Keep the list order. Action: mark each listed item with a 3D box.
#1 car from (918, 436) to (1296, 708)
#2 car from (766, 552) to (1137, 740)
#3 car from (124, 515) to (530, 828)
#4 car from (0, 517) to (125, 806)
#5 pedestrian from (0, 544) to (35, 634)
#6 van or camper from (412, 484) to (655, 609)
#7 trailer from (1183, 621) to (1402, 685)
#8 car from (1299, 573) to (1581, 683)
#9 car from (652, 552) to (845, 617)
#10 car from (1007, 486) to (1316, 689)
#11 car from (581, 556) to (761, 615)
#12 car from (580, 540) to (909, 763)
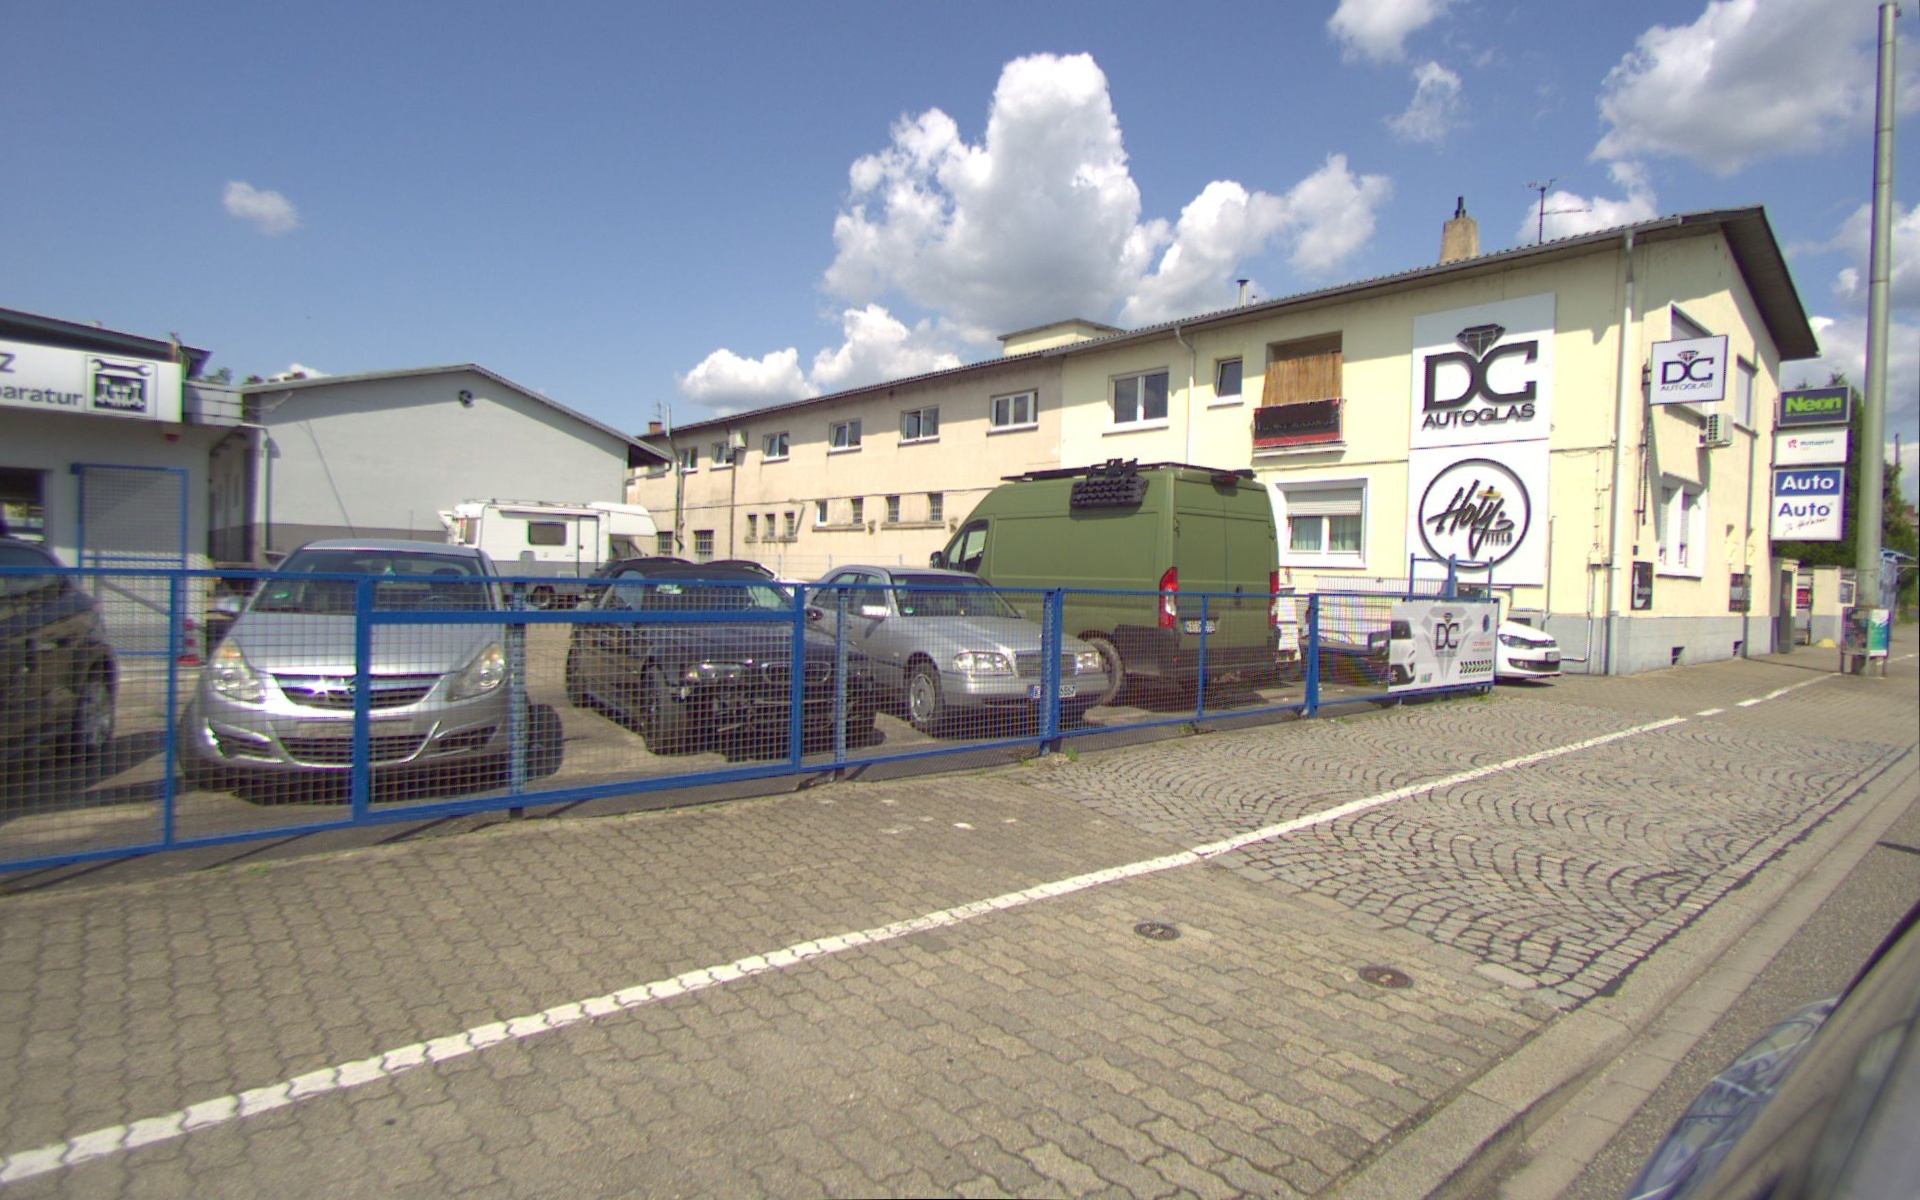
[{"bbox_3d":[1.589,-0.351,12.253,2.075,2.675,4.208,1,2,-39],"label":"car"},{"bbox_3d":[-0.337,0.285,10.200,1.679,1.470,4.292,1,2,-33],"label":"car"},{"bbox_3d":[-3.897,0.280,6.838,1.736,1.470,3.778,1,2,-24],"label":"car"},{"bbox_3d":[-5.636,0.303,4.866,1.606,1.470,3.700,1,2,-25],"label":"car"},{"bbox_3d":[-13.160,-0.157,13.878,0.652,1.224,0.566,1,1,-39],"label":"pedestrian"},{"bbox_3d":[-11.303,-1.324,27.108,5.556,3.002,2.272,0,2,-42],"label":"van or camper"},{"bbox_3d":[4.751,0.722,14.648,1.307,0.674,2.730,0,2,-42],"label":"trailer"},{"bbox_3d":[7.536,0.358,16.176,1.527,1.481,3.775,0,2,-39],"label":"car"},{"bbox_3d":[-4.843,-0.350,23.545,4.112,1.378,1.645,0,2,-41],"label":"car"},{"bbox_3d":[2.662,-0.227,14.256,1.557,2.436,4.208,1,2,-39],"label":"car"},{"bbox_3d":[-7.305,-0.359,25.808,4.112,1.378,1.645,0,2,-41],"label":"car"},{"bbox_3d":[-2.126,0.273,8.894,1.737,1.470,4.128,1,2,-28],"label":"car"}]
